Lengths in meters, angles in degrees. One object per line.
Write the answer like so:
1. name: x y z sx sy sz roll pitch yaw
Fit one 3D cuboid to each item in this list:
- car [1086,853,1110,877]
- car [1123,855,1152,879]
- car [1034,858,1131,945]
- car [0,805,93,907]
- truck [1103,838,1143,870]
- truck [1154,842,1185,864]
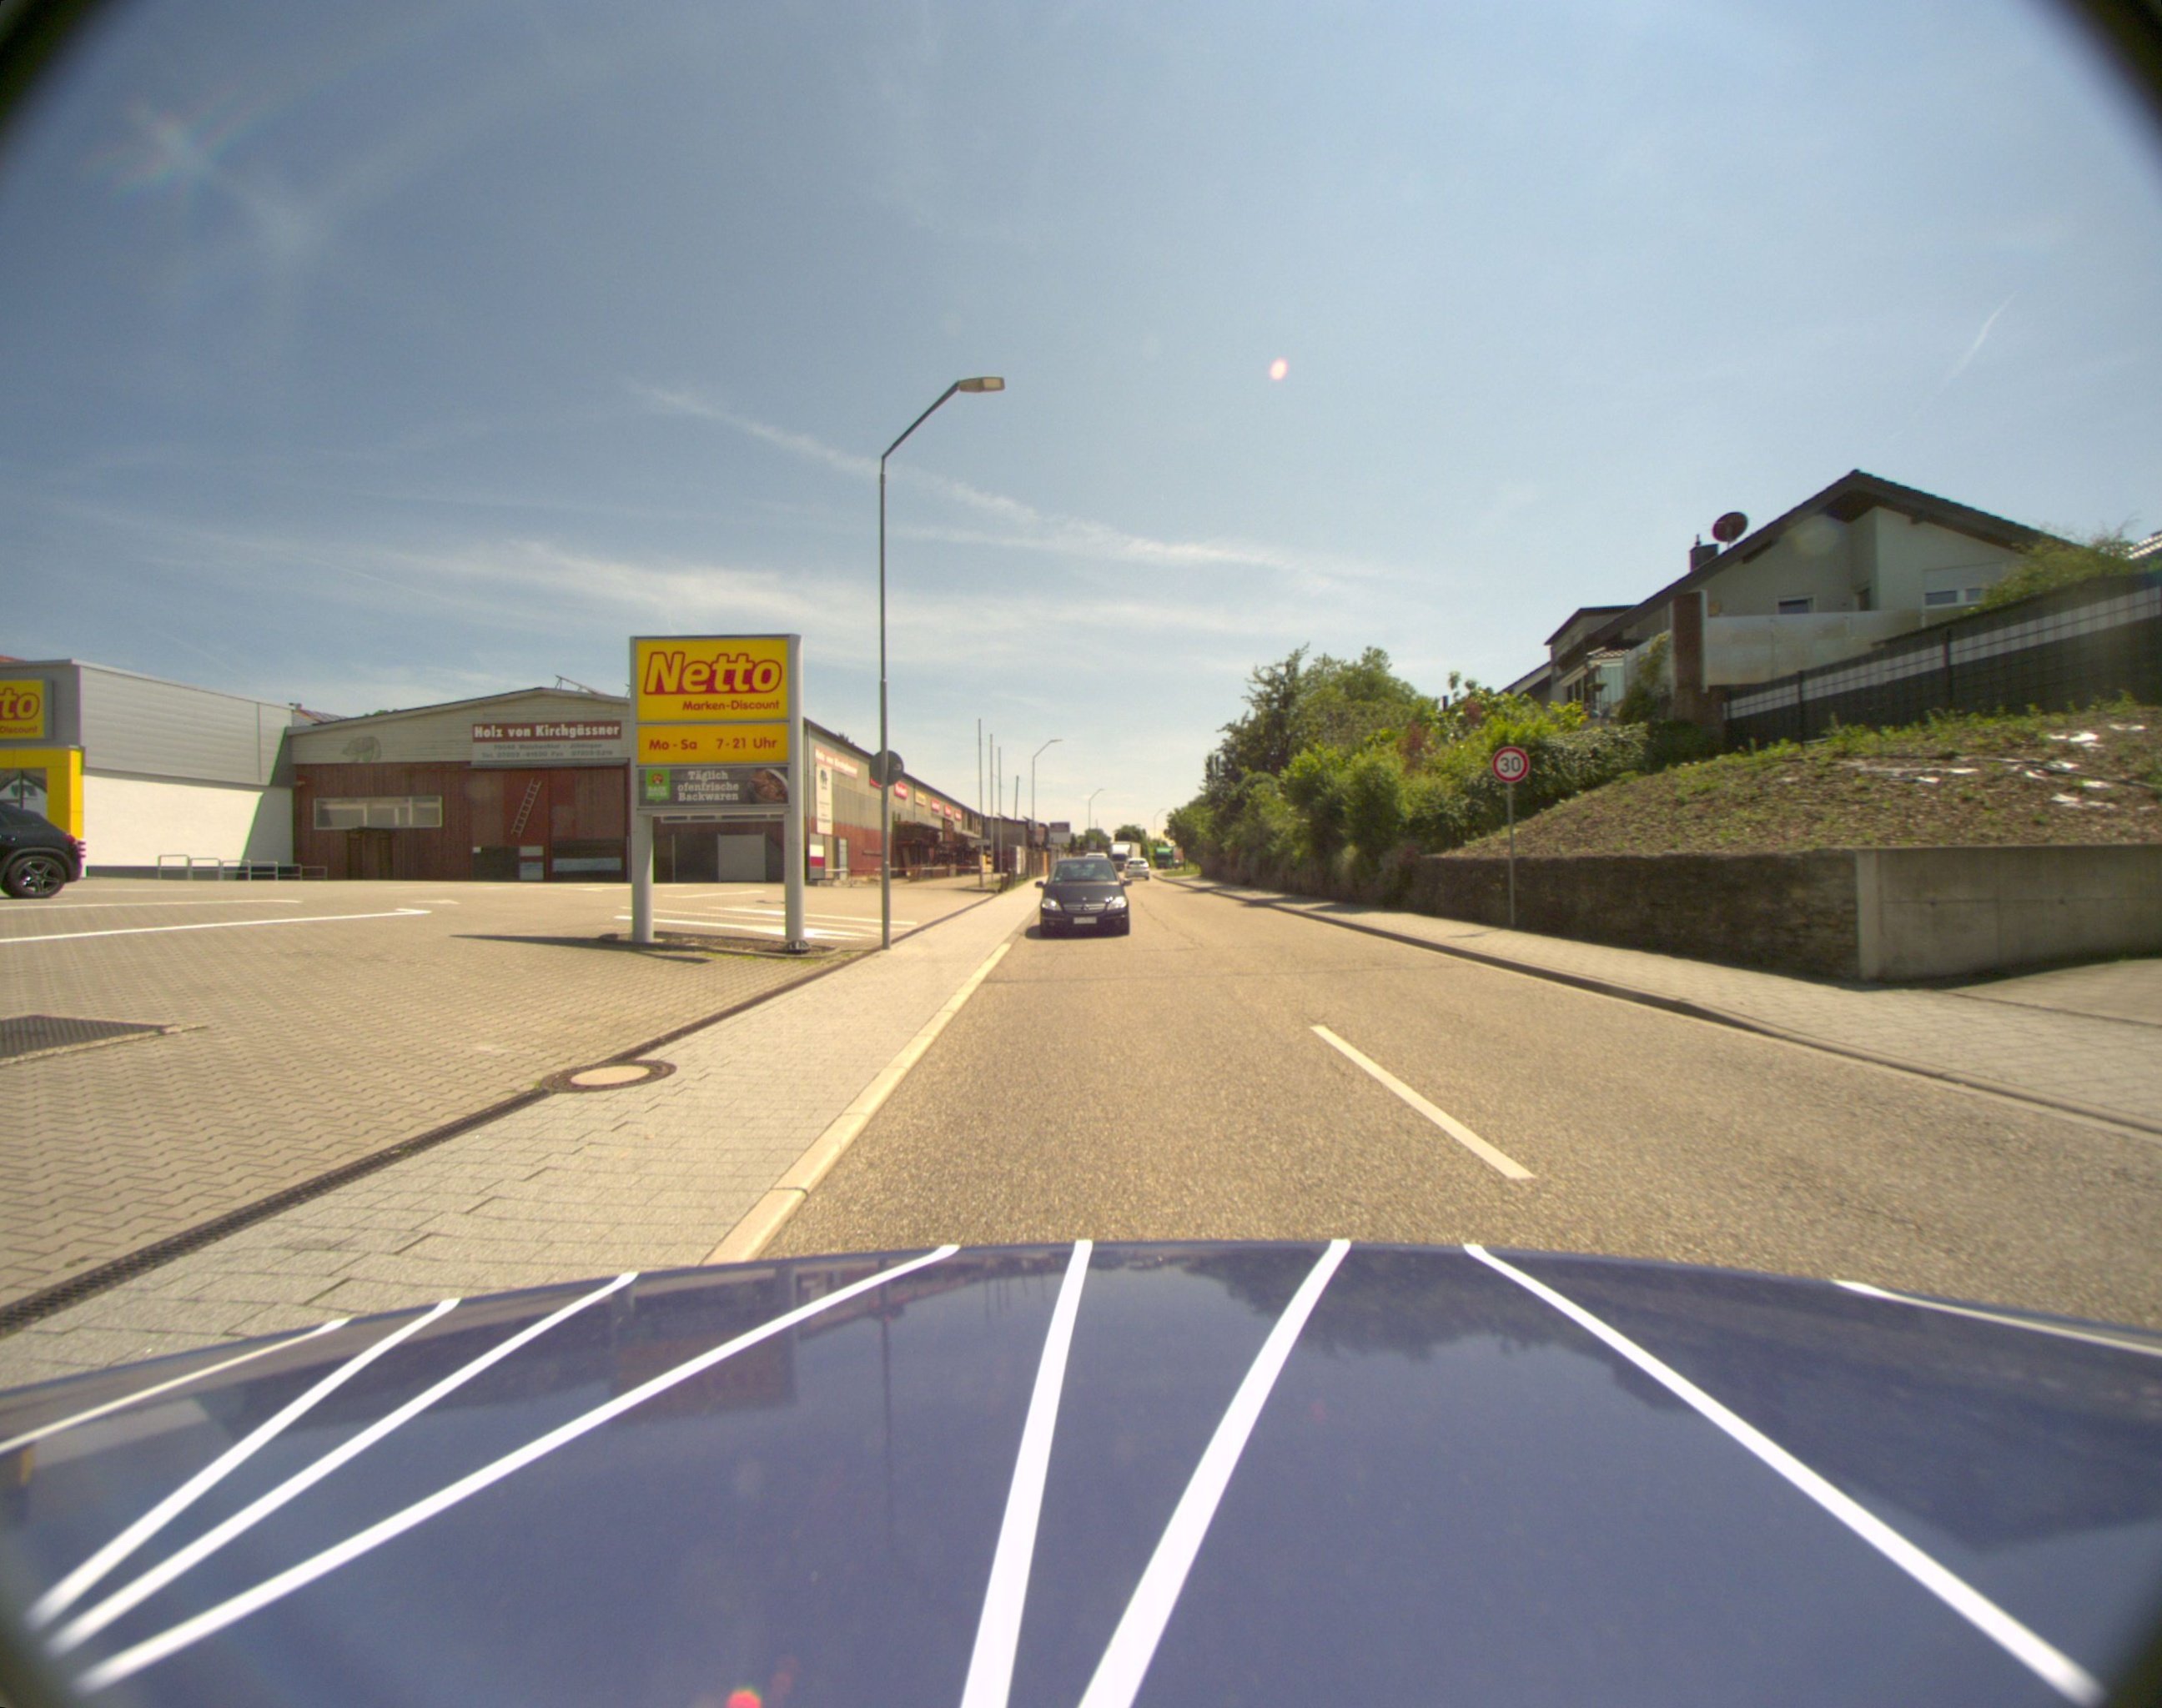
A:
1. car: 1.512 0.925 64.655 1.867 1.897 5.038 -3 0 3
2. car: 3.842 0.884 51.965 1.826 1.516 3.558 -2 0 3
3. car: 0.058 0.920 16.544 1.764 1.583 4.198 -2 0 1
4. car: -17.626 0.001 10.737 1.913 1.586 4.209 0 -1 -3
5. truck: 5.176 0.065 91.390 3.199 3.578 8.316 2 0 13
6. truck: 13.582 -0.088 116.393 2.848 3.214 8.177 2 0 20
